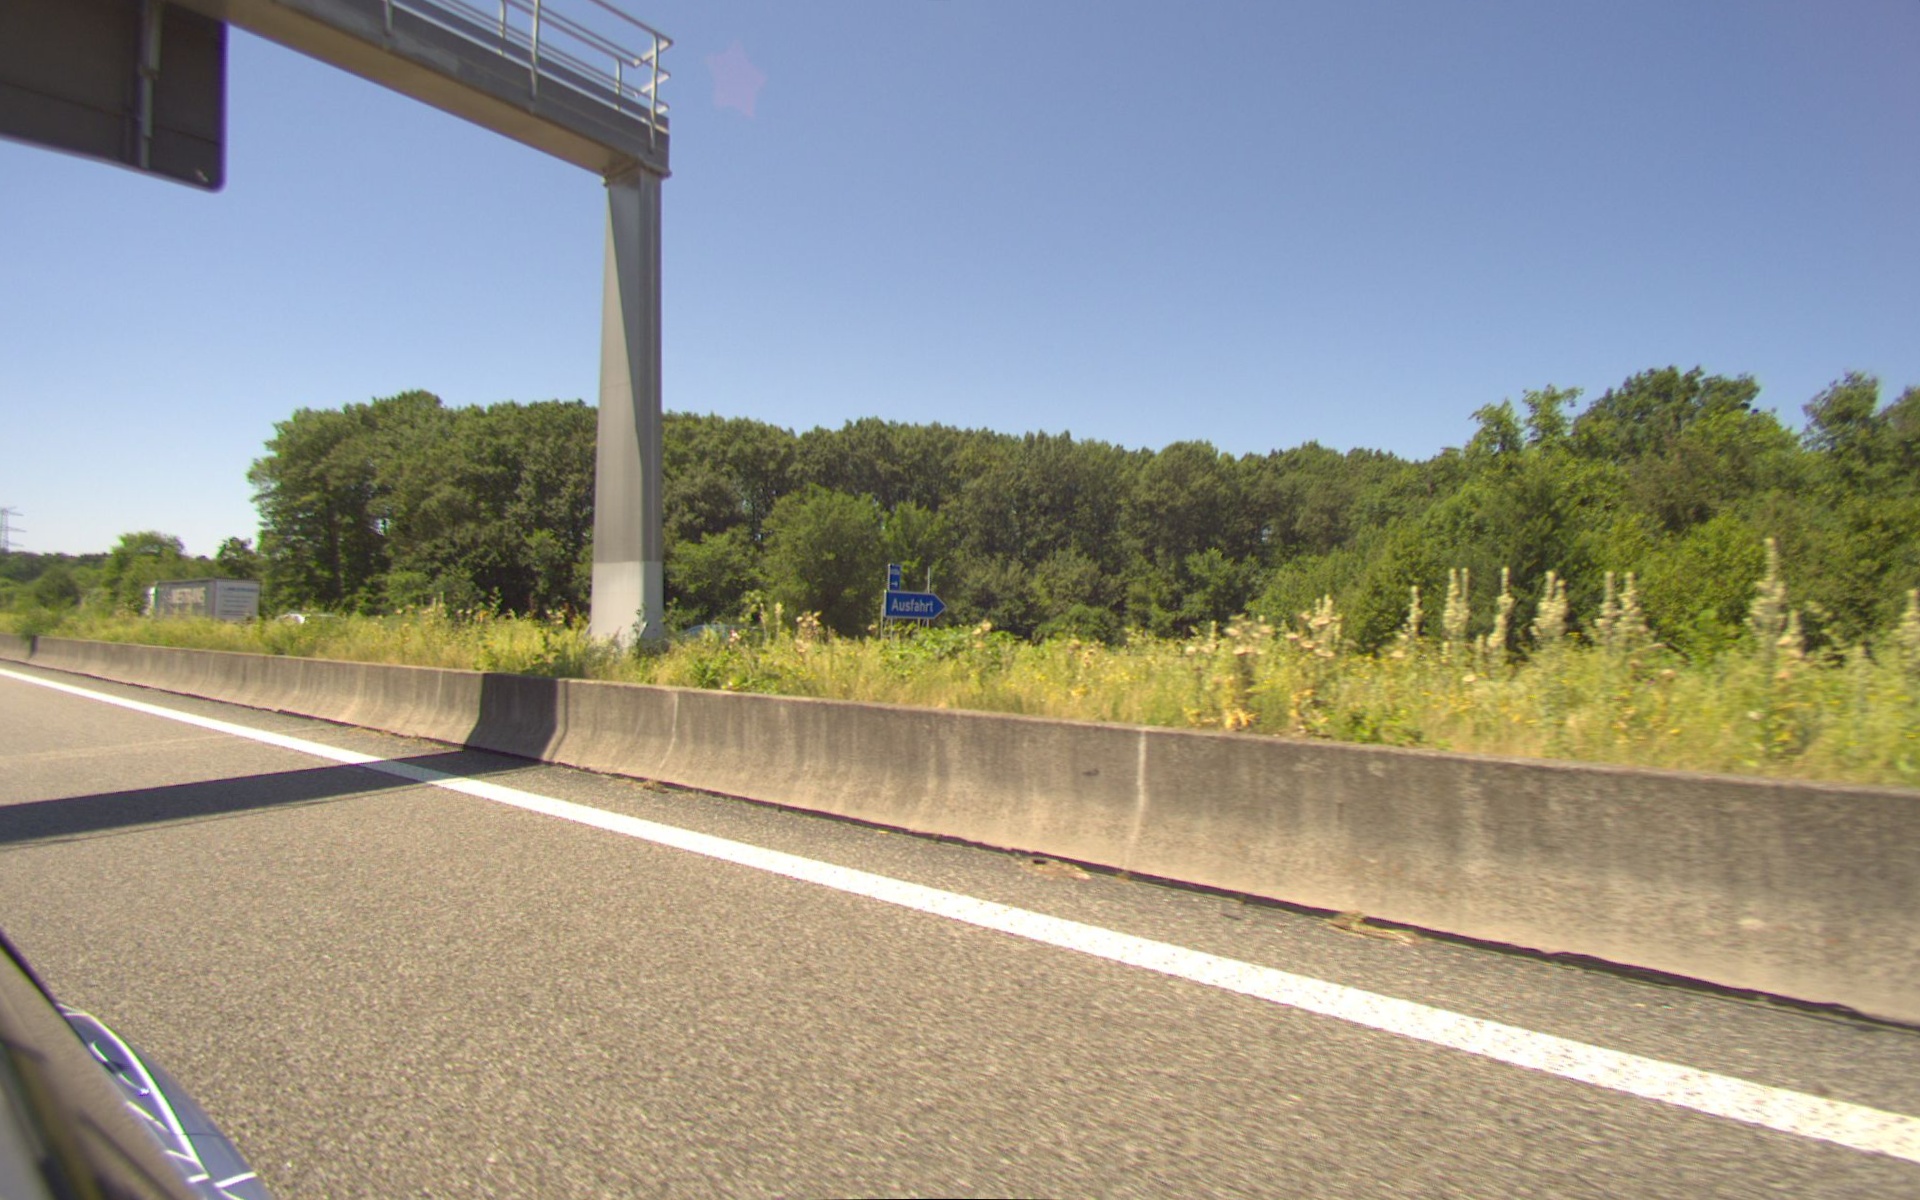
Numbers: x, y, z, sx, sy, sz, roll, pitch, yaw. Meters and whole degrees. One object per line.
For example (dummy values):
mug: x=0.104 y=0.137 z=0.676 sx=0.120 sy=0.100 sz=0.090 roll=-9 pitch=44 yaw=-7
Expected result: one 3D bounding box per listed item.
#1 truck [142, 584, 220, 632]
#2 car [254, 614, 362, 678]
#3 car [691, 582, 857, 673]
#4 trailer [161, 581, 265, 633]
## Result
truck: x=-55.030 y=0.538 z=71.415 sx=7.287 sy=3.210 sz=2.774 roll=-1 pitch=0 yaw=39
car: x=-22.455 y=1.511 z=34.808 sx=4.542 sy=2.029 sz=1.973 roll=-1 pitch=-1 yaw=41
car: x=-4.579 y=0.652 z=24.621 sx=4.000 sy=2.029 sz=1.972 roll=-1 pitch=-1 yaw=43
trailer: x=-49.504 y=0.465 z=66.885 sx=11.114 sy=3.210 sz=2.939 roll=-1 pitch=0 yaw=40
